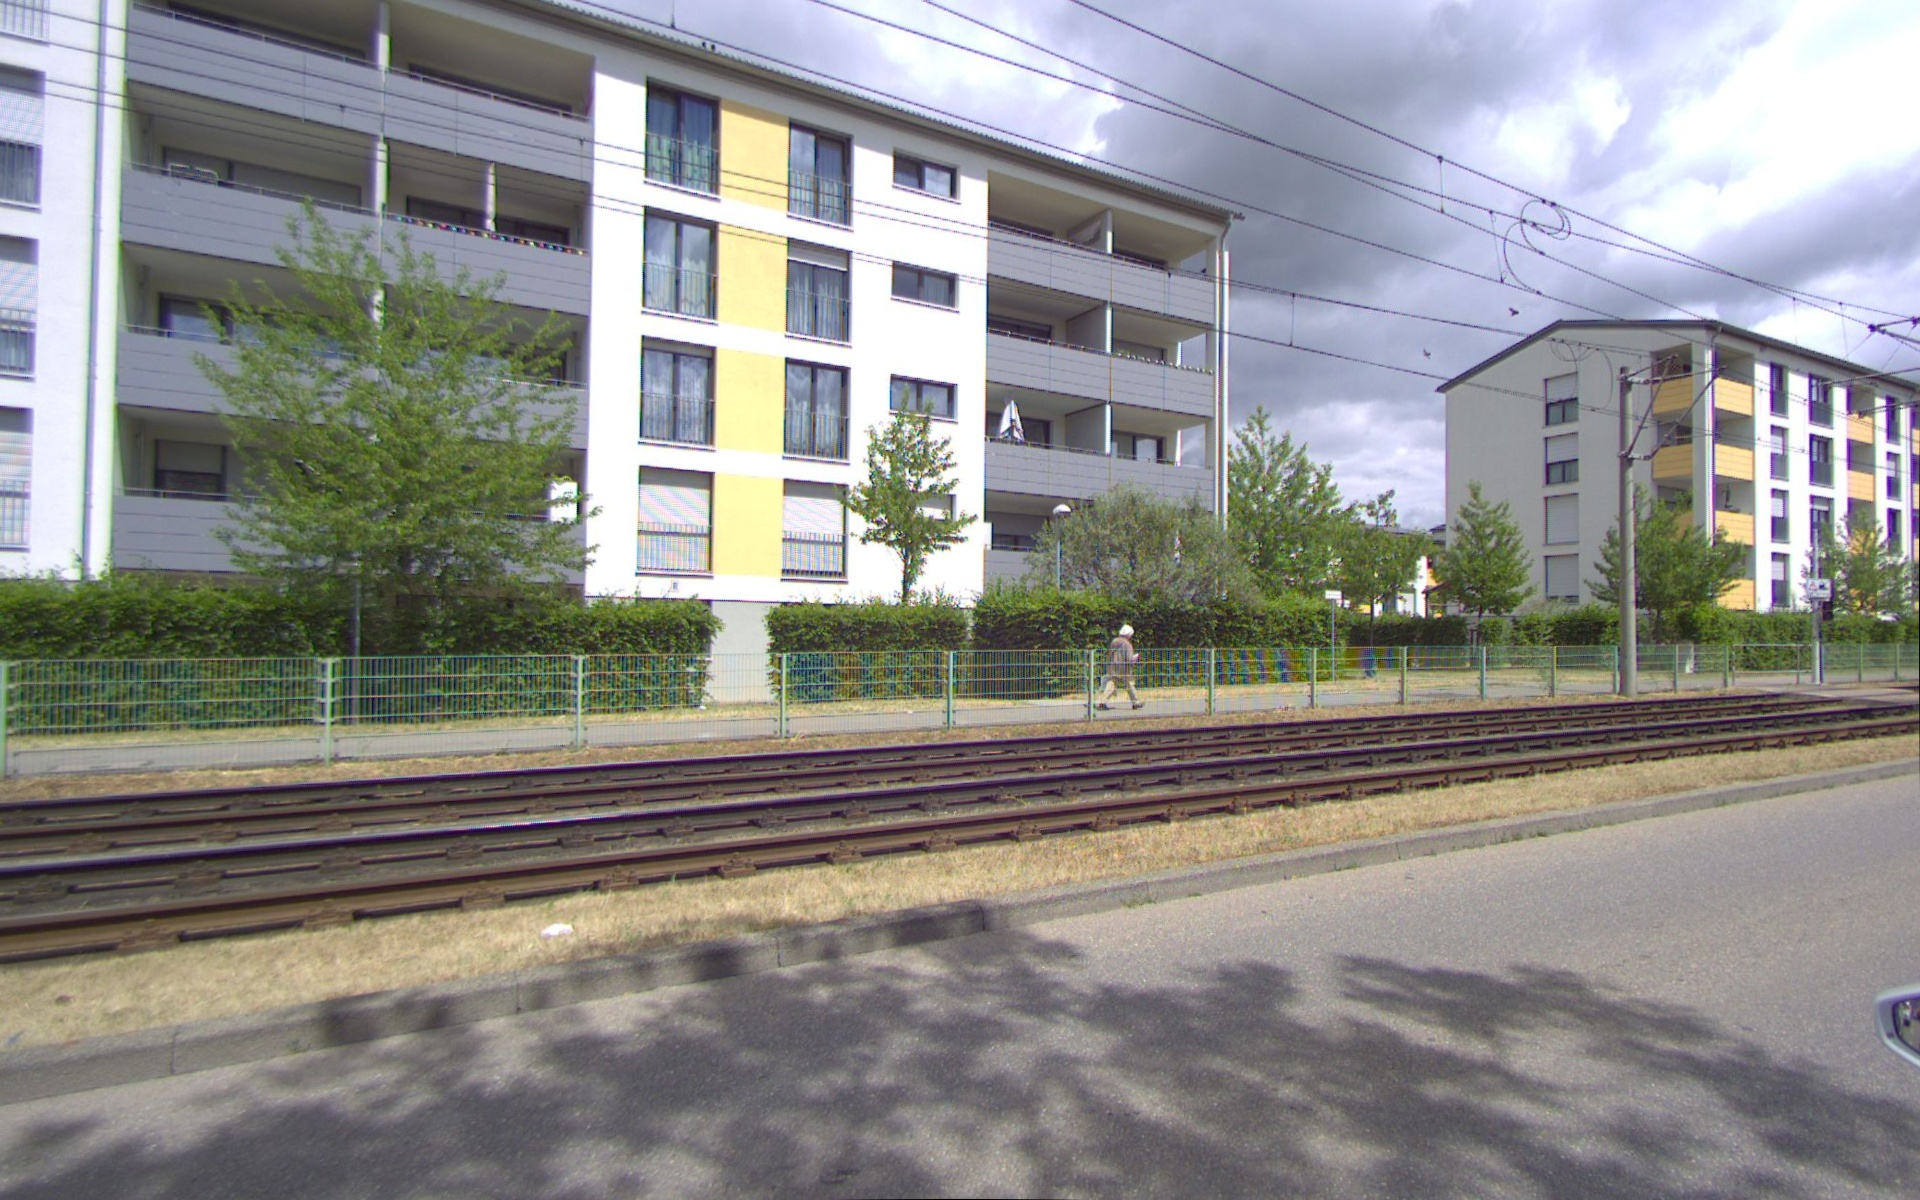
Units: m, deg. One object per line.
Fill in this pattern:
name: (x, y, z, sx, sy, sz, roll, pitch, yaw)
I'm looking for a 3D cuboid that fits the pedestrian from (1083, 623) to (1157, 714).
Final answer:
pedestrian: (2.747, 1.156, 17.303, 0.984, 1.503, 0.792, 1, -1, -31)
